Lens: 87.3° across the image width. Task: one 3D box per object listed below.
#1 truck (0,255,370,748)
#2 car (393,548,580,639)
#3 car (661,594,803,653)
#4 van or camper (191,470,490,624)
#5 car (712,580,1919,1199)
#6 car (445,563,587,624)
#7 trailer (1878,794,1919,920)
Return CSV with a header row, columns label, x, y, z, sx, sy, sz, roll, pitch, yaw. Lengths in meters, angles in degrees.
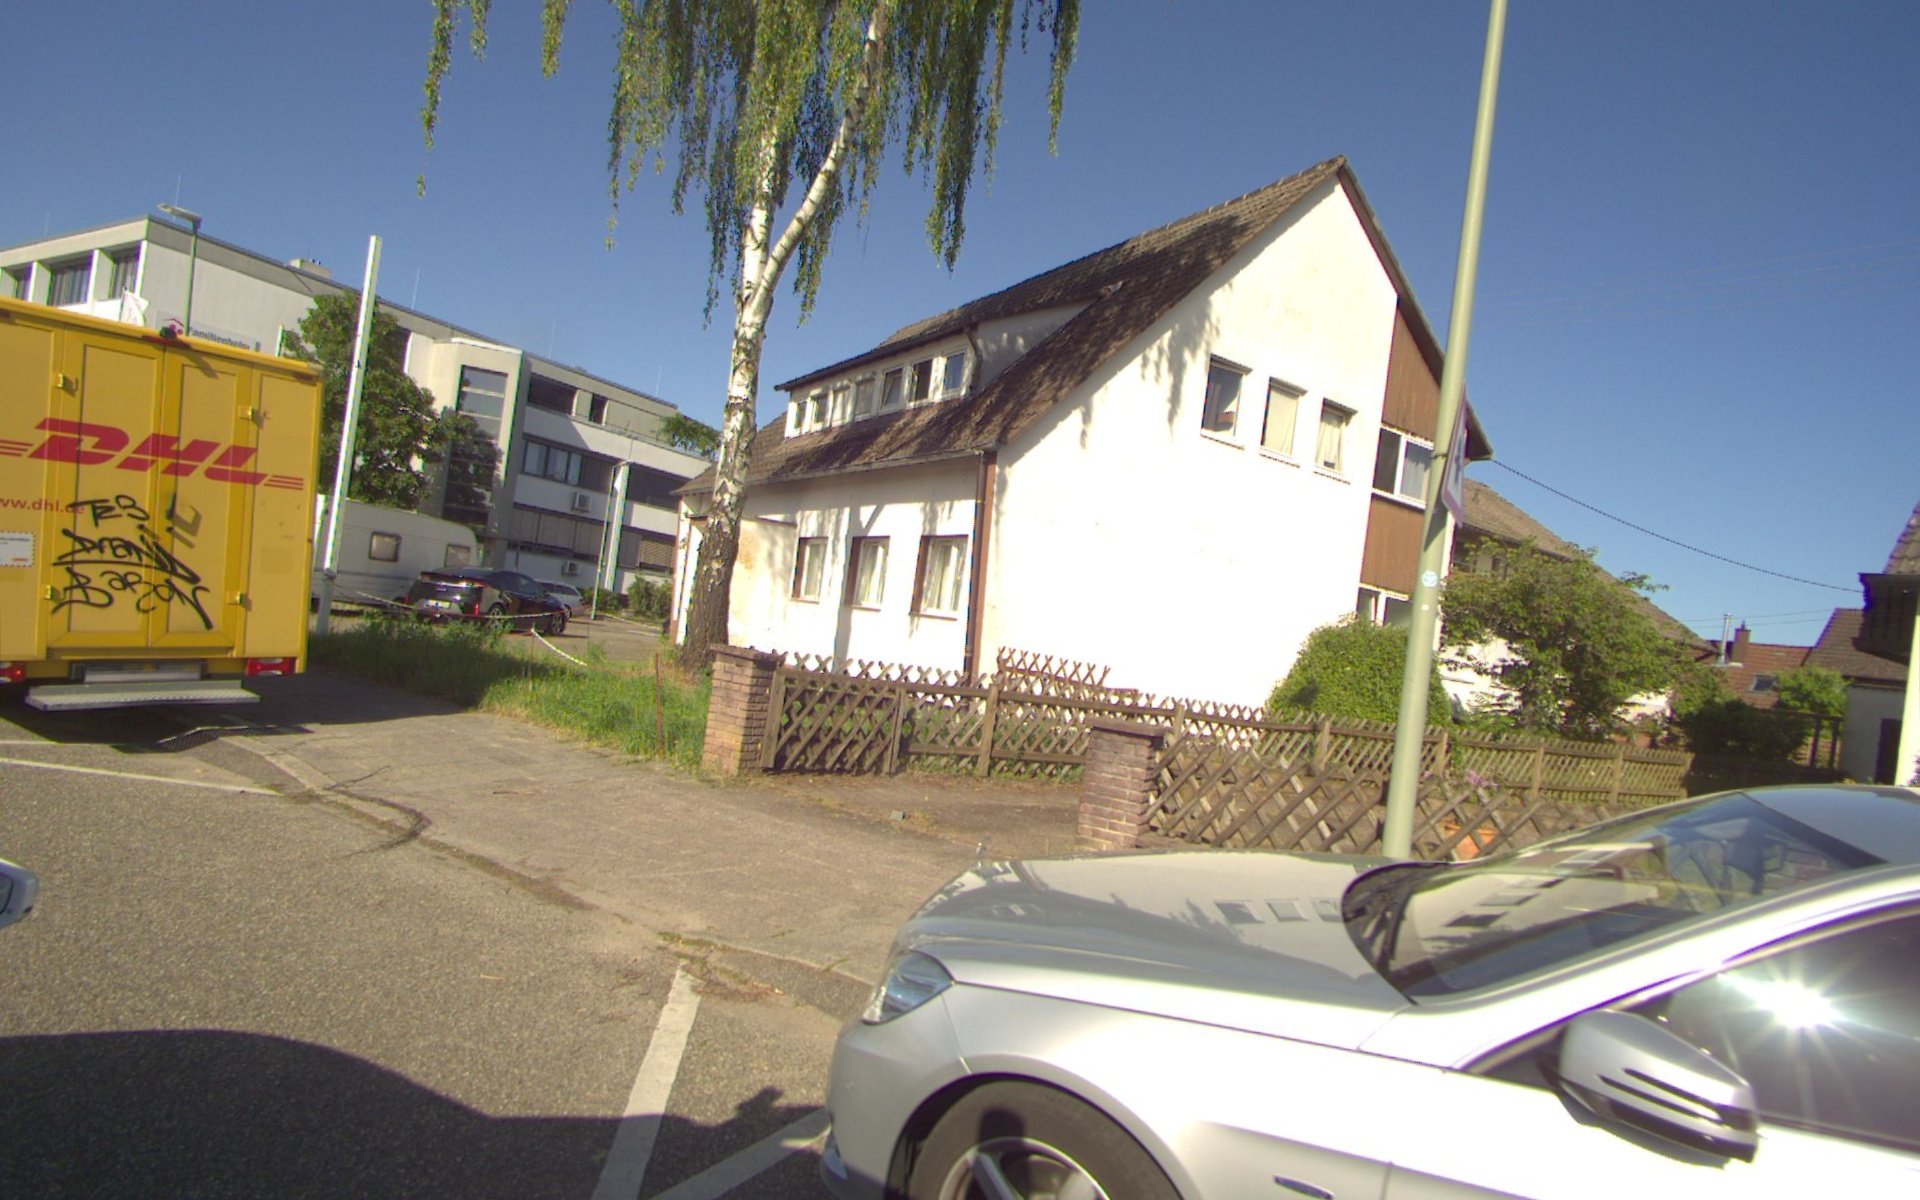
label,x,y,z,sx,sy,sz,roll,pitch,yaw
truck,-8.291,-0.850,8.671,6.900,2.973,2.405,7,1,32
car,-10.669,-0.063,23.036,1.776,1.636,4.005,8,-2,8
car,-7.434,0.740,32.622,4.557,1.454,1.718,4,-4,33
van or camper,-13.417,-0.969,22.457,2.246,2.570,5.840,8,-2,8
car,1.870,1.062,2.044,4.459,1.560,1.789,7,-2,28
car,-16.419,-0.195,37.430,1.770,1.636,4.519,7,-2,32
trailer,9.797,2.492,8.700,1.633,1.084,2.176,9,-2,-21
